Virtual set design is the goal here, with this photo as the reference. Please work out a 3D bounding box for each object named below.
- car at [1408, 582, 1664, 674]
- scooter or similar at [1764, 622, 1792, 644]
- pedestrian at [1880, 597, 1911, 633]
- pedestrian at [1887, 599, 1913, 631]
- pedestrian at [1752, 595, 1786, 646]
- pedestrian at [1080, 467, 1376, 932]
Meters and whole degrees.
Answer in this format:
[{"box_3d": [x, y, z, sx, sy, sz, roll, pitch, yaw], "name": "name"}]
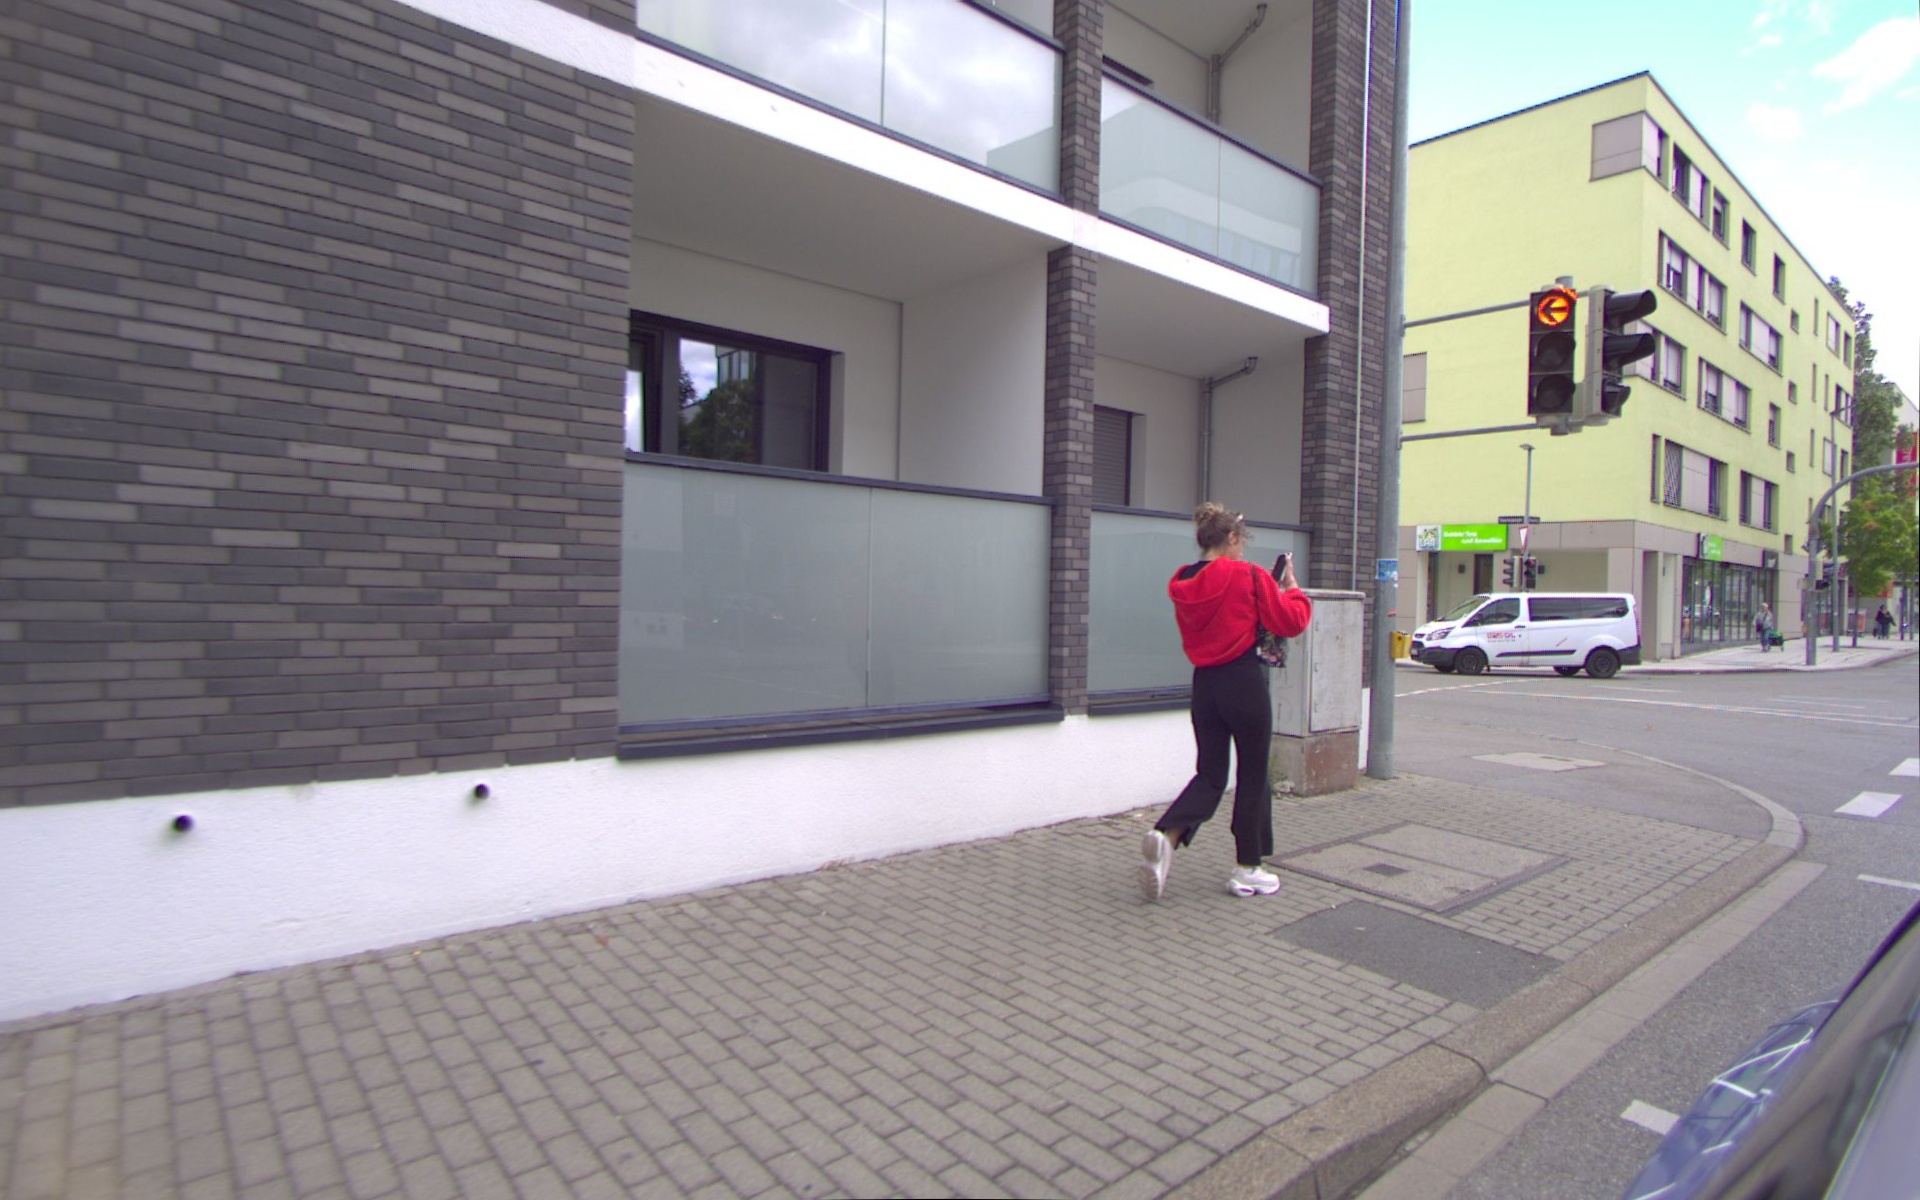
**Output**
[{"box_3d": [13.672, 0.622, 24.325, 4.918, 2.013, 1.996, 1, 0, 9], "name": "car"}, {"box_3d": [27.270, 1.107, 33.734, 0.810, 0.681, 0.593, 1, 2, -42], "name": "scooter or similar"}, {"box_3d": [44.310, 0.702, 47.941, 0.998, 1.603, 0.949, 1, 1, -41], "name": "pedestrian"}, {"box_3d": [48.574, 0.790, 52.306, 0.790, 1.603, 0.870, 1, 1, -41], "name": "pedestrian"}, {"box_3d": [26.664, 0.662, 33.367, 0.593, 1.613, 0.697, 1, 2, -41], "name": "pedestrian"}, {"box_3d": [1.181, 0.365, 4.498, 0.846, 1.808, 0.810, 2, 3, -40], "name": "pedestrian"}]
